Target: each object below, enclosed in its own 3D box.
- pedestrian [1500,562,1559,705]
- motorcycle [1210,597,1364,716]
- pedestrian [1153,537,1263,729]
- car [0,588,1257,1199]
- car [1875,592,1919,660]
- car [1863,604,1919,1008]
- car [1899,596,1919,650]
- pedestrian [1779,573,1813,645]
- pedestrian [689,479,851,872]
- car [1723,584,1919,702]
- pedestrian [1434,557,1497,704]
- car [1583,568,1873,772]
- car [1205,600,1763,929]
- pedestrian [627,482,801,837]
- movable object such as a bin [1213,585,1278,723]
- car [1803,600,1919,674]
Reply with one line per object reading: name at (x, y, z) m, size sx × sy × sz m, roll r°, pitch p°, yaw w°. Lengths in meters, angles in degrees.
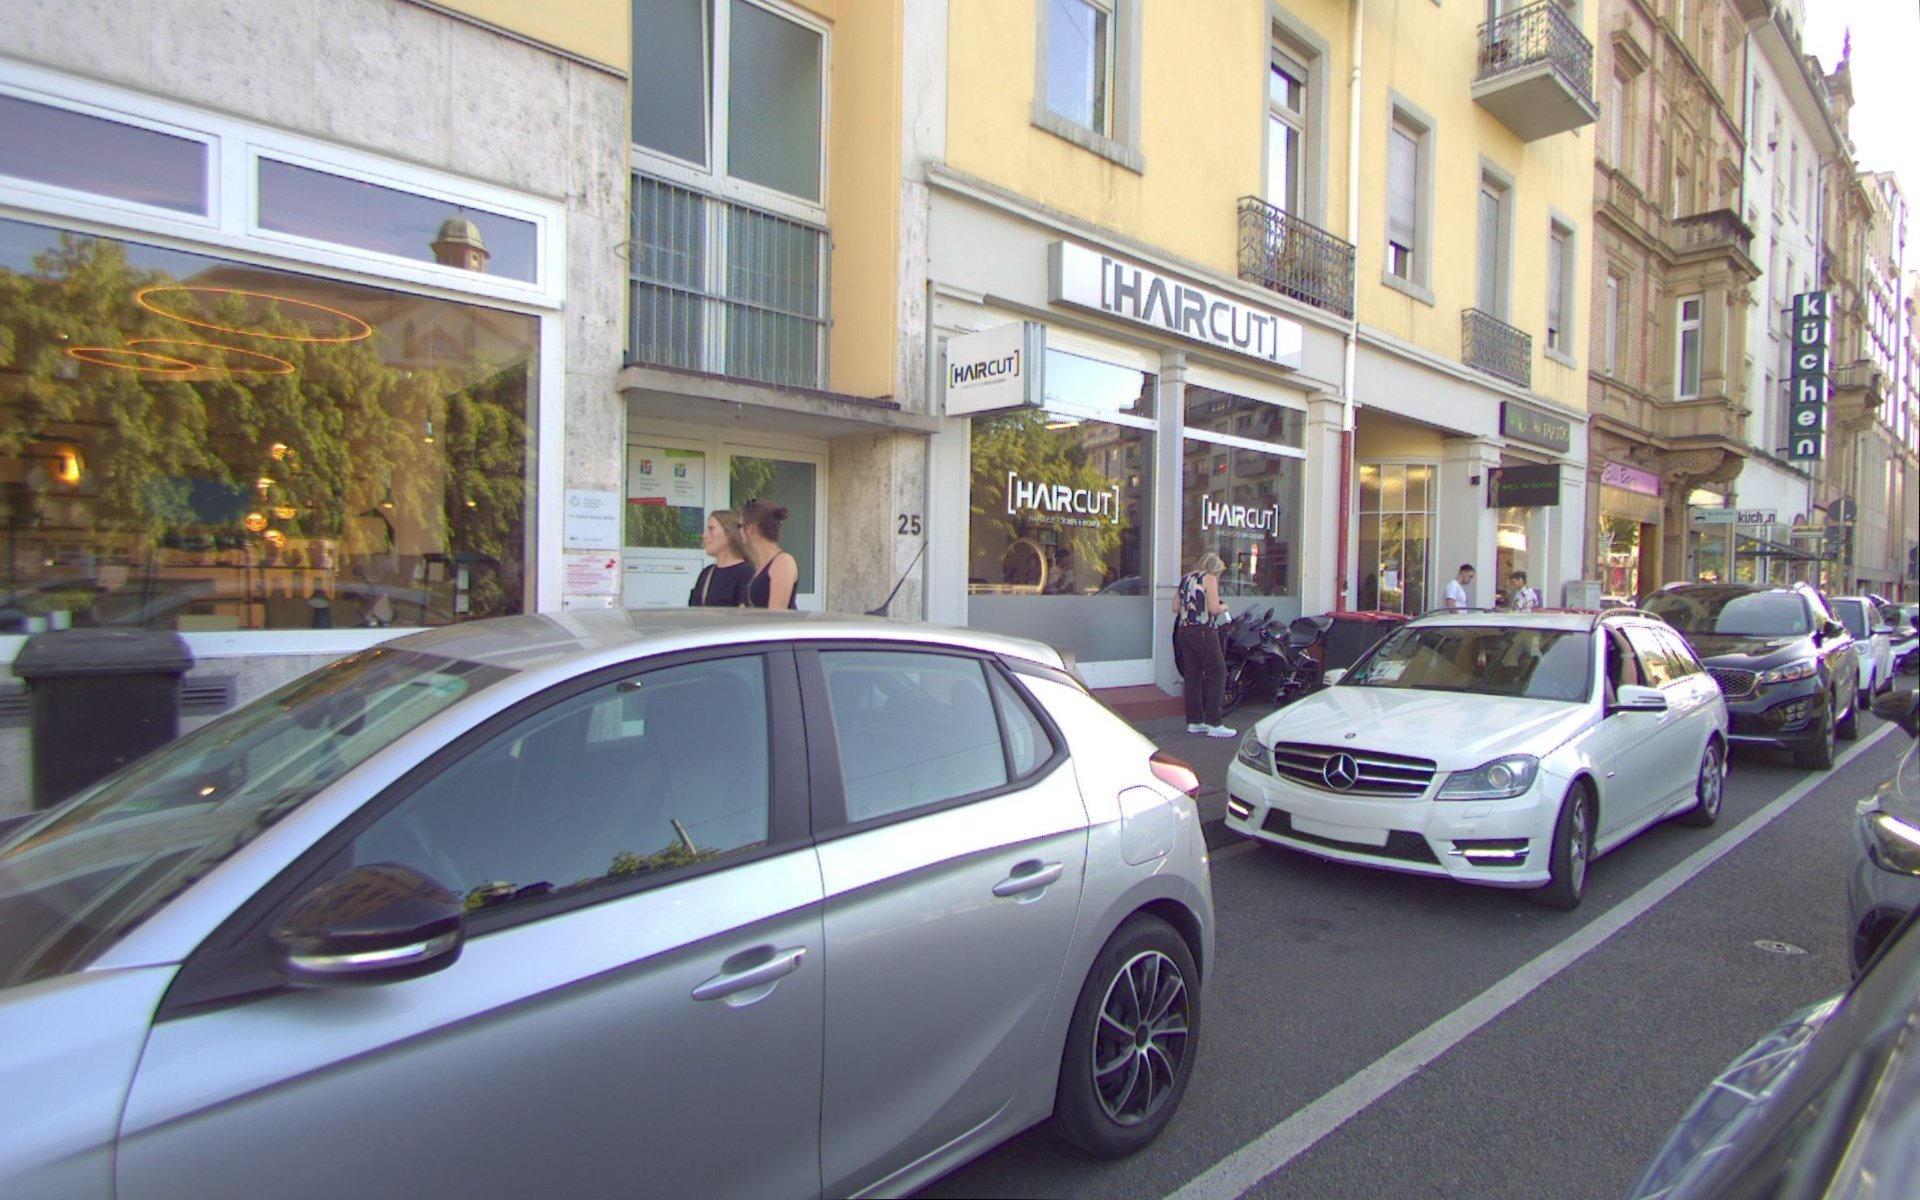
pedestrian at (7.680, 0.436, 13.672) m, size 0.567 × 1.874 × 0.661 m, roll 0°, pitch 0°, yaw 19°
motorcycle at (3.442, 0.540, 10.566) m, size 1.920 × 1.091 × 0.567 m, roll -1°, pitch 4°, yaw -41°
pedestrian at (2.279, 0.273, 9.310) m, size 0.595 × 1.674 × 0.719 m, roll 0°, pitch 3°, yaw -40°
car at (-0.990, 0.700, 2.266) m, size 3.597 × 1.445 × 1.549 m, roll -1°, pitch 1°, yaw -42°
car at (22.234, 0.551, 23.078) m, size 4.016 × 1.450 × 1.657 m, roll -1°, pitch 0°, yaw -42°
car at (5.292, 0.707, 4.216) m, size 3.930 × 1.376 × 1.801 m, roll -1°, pitch 1°, yaw -41°
car at (26.675, 0.591, 27.209) m, size 3.773 × 1.357 × 1.800 m, roll -1°, pitch 1°, yaw -42°
pedestrian at (22.228, 0.233, 26.904) m, size 0.653 × 1.874 × 0.574 m, roll 0°, pitch 0°, yaw -40°
pedestrian at (-0.908, 0.318, 4.758) m, size 0.634 × 1.686 × 0.660 m, roll 0°, pitch 0°, yaw -20°
car at (13.105, 0.545, 15.311) m, size 4.016 × 1.546 × 1.800 m, roll -1°, pitch 0°, yaw -42°
pedestrian at (7.008, 0.415, 14.038) m, size 0.679 × 2.008 × 0.375 m, roll 1°, pitch 1°, yaw -18°
car at (7.985, 0.543, 10.368) m, size 4.176 × 1.659 × 1.799 m, roll -1°, pitch 1°, yaw -45°
car at (3.557, 0.714, 6.460) m, size 4.302 × 1.376 × 1.703 m, roll -1°, pitch 1°, yaw -41°
pedestrian at (-1.331, 0.296, 5.536) m, size 0.733 × 1.806 × 0.565 m, roll 1°, pitch 0°, yaw 18°
movable object such as a bin at (2.712, 0.496, 9.616) m, size 0.387 × 1.253 × 0.391 m, roll 0°, pitch 3°, yaw -41°
car at (18.096, 0.659, 19.908) m, size 4.016 × 1.282 × 1.800 m, roll -1°, pitch 1°, yaw -42°
